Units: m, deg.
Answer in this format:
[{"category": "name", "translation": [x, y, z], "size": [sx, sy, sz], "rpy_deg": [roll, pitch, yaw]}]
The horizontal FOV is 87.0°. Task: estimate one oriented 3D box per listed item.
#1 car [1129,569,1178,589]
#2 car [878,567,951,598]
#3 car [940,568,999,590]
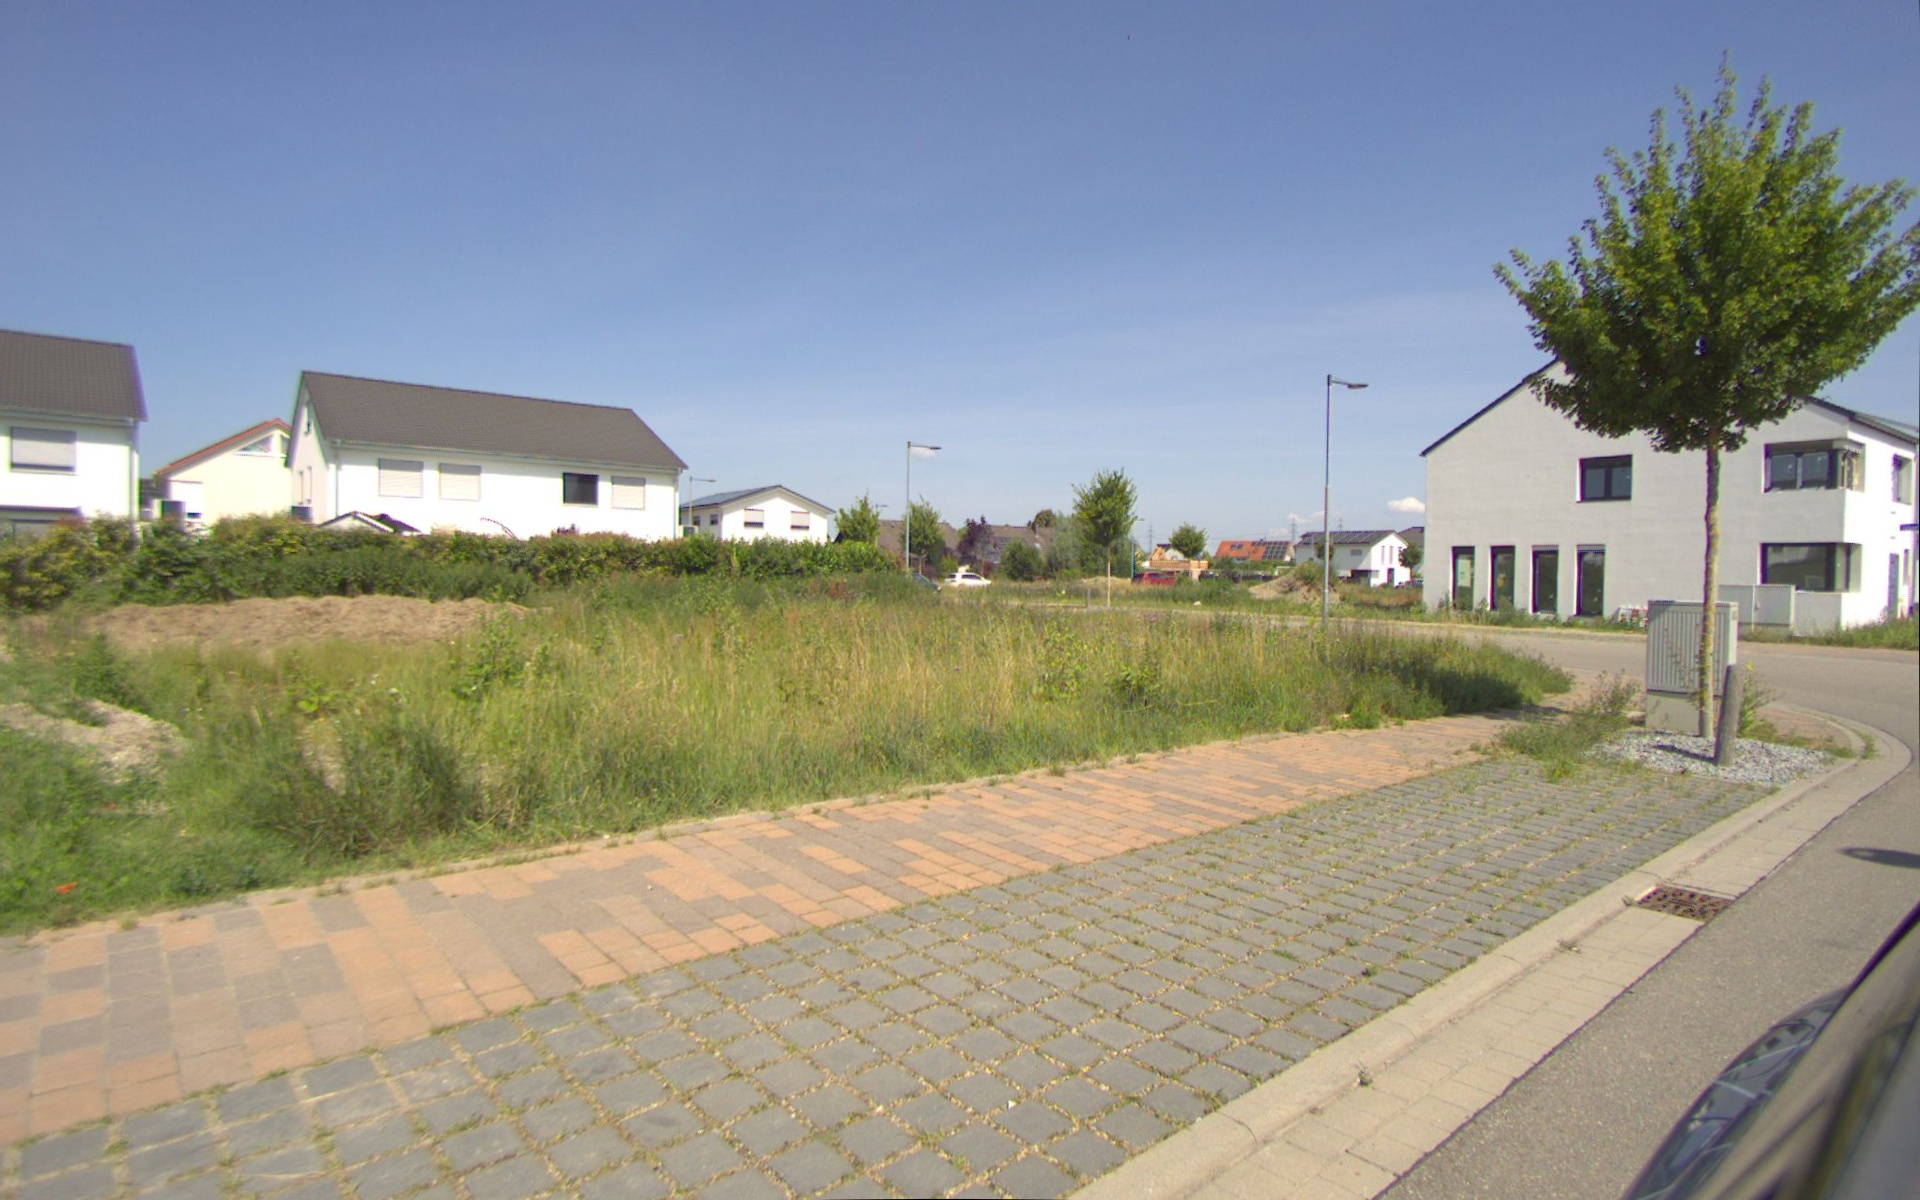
[{"category": "car", "translation": [16.172, -1.773, 84.697], "size": [3.925, 1.636, 1.809], "rpy_deg": [0, 2, -36]}, {"category": "car", "translation": [-2.419, -0.934, 52.941], "size": [1.784, 1.471, 4.143], "rpy_deg": [-2, 3, -37]}, {"category": "car", "translation": [0.725, -1.510, 73.898], "size": [3.921, 1.521, 1.811], "rpy_deg": [0, 2, -32]}]
